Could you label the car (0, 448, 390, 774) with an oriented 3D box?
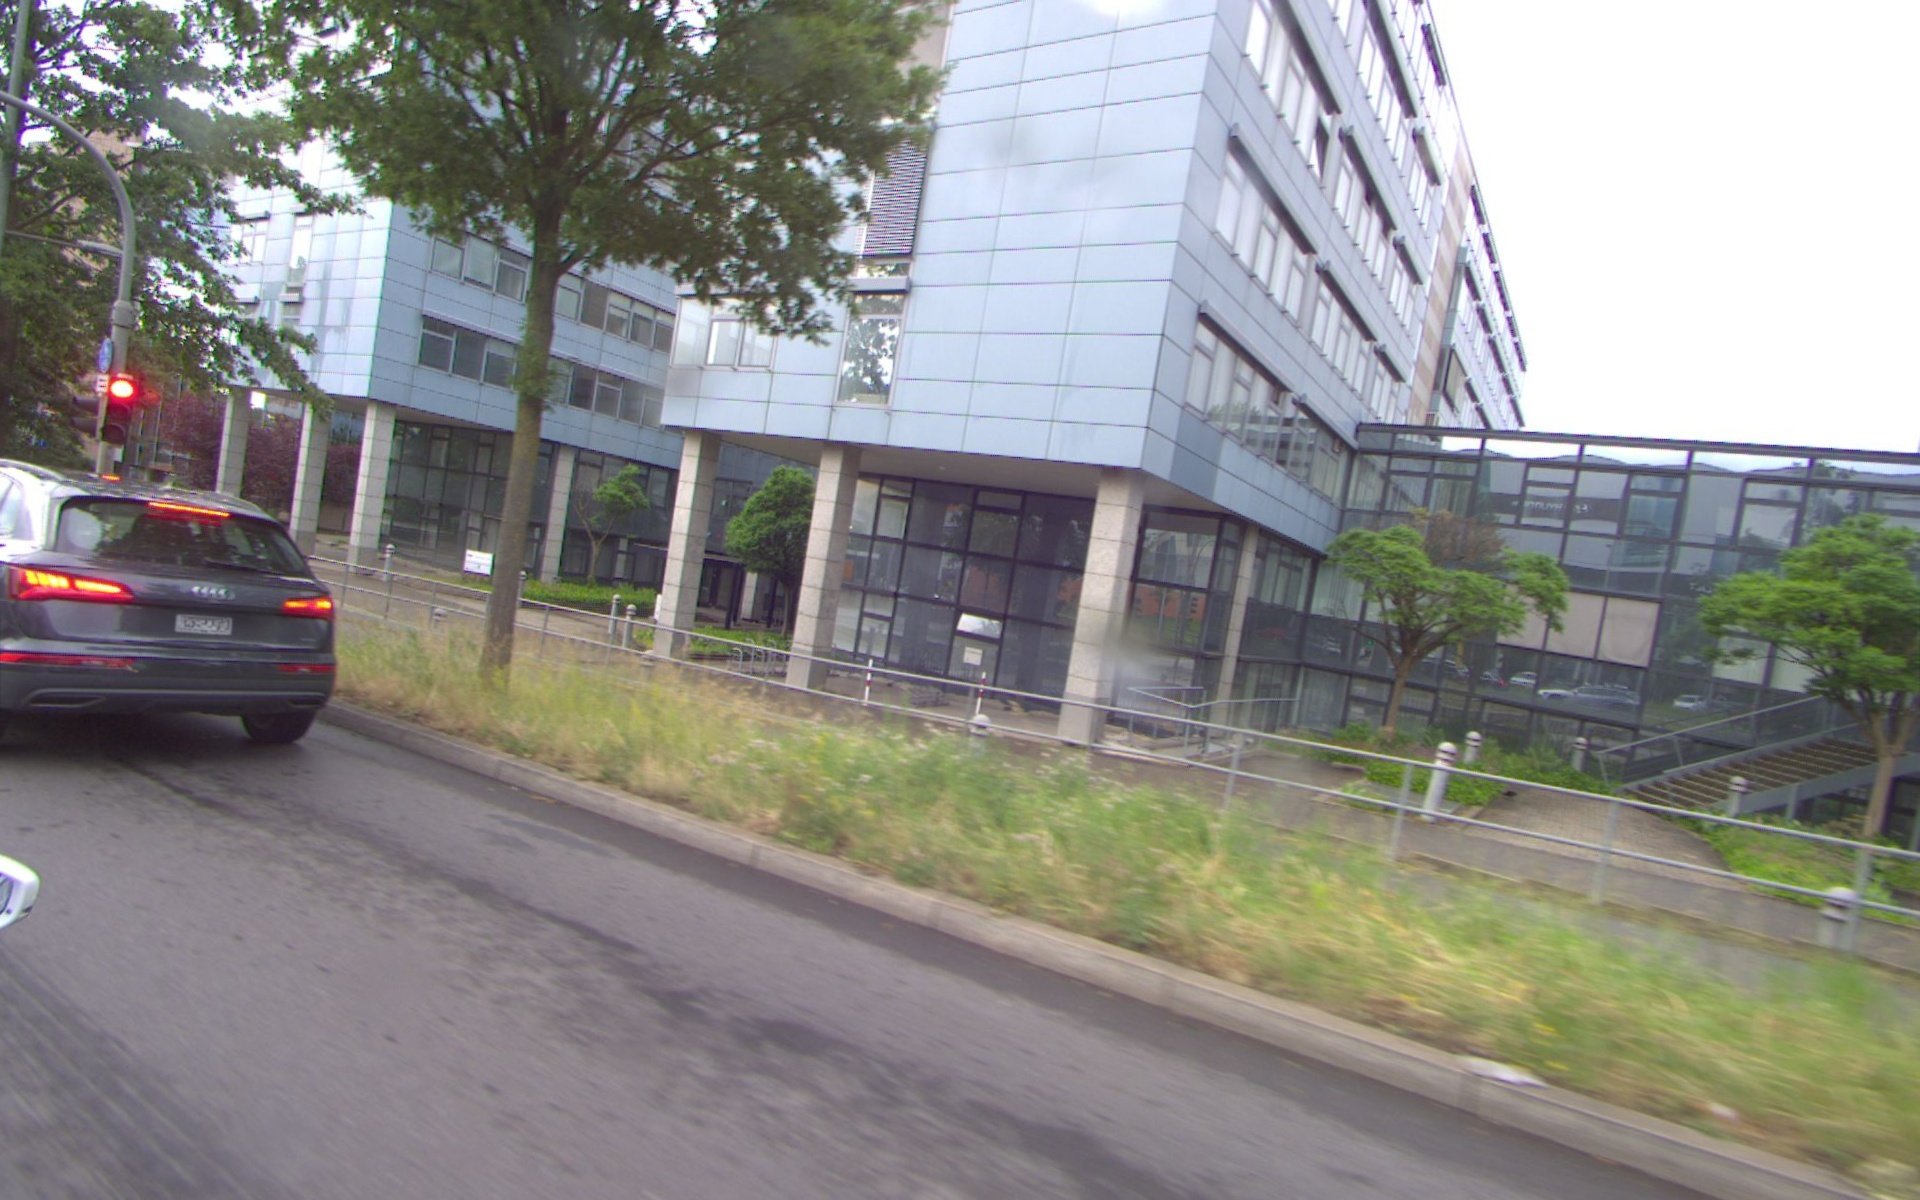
[{"bbox_3d":[-6.150,-0.099,6.967,4.396,1.632,1.821,8,0,32],"label":"car"}]
